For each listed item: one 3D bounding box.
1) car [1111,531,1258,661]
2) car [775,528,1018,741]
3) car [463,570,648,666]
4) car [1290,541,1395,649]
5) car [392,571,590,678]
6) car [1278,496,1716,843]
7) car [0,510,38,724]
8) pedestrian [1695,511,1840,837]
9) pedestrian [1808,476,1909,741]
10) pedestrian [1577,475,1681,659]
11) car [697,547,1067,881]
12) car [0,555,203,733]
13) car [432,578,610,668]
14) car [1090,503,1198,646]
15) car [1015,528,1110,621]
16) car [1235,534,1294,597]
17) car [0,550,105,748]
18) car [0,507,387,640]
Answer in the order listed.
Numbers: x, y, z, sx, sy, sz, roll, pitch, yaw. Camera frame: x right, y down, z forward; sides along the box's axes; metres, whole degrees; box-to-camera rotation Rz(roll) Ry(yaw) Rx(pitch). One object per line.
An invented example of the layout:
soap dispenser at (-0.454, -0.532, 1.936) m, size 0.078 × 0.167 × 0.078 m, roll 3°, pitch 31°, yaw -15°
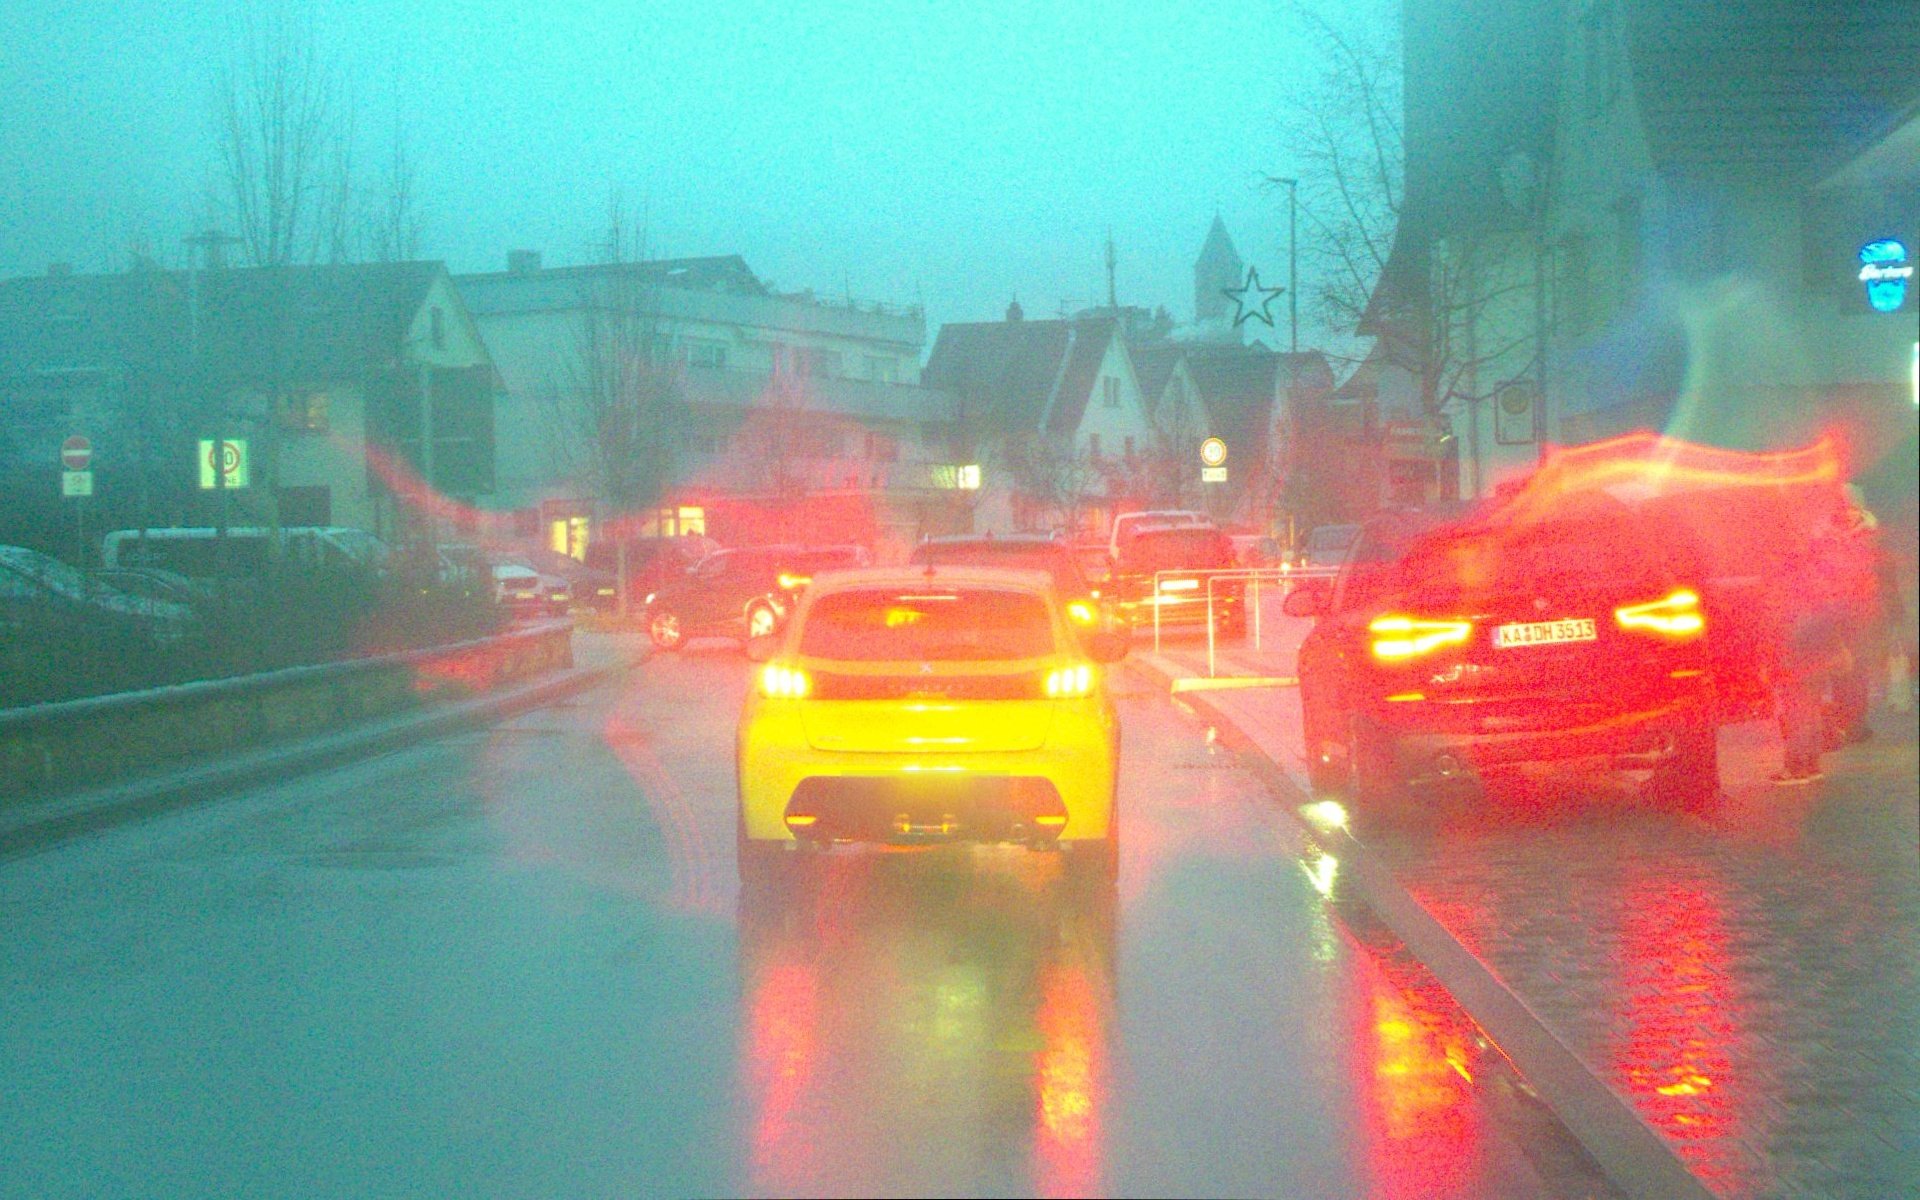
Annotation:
car at (3.294, -0.059, 51.062) m, size 1.997 × 1.858 × 4.083 m, roll 0°, pitch 0°, yaw 1°
car at (-0.463, 0.238, 28.388) m, size 1.766 × 1.623 × 3.585 m, roll 1°, pitch 1°, yaw 3°
car at (-9.523, 0.447, 80.800) m, size 4.383 × 2.159 × 1.995 m, roll -1°, pitch -2°, yaw 45°
car at (8.405, -0.090, 75.839) m, size 1.994 × 2.241 × 3.999 m, roll 1°, pitch -2°, yaw 2°
car at (-10.254, 0.545, 74.955) m, size 4.383 × 2.244 × 1.995 m, roll -1°, pitch -2°, yaw 45°
car at (2.849, 0.325, 19.139) m, size 1.735 × 1.686 × 4.386 m, roll -1°, pitch 0°, yaw 0°
car at (-9.801, 0.128, 26.946) m, size 4.625 × 1.662 × 2.000 m, roll 0°, pitch 0°, yaw -1°
pedestrian at (4.320, 0.387, 18.425) m, size 0.573 × 1.694 × 0.653 m, roll -2°, pitch 0°, yaw 2°
pedestrian at (5.907, 0.060, 22.622) m, size 0.618 × 1.721 × 0.501 m, roll 0°, pitch -2°, yaw 13°
pedestrian at (5.589, -0.288, 28.744) m, size 0.618 × 1.510 × 0.734 m, roll -1°, pitch 2°, yaw -12°
car at (-0.315, 0.470, 16.223) m, size 1.563 × 1.408 × 3.018 m, roll 1°, pitch 1°, yaw 1°
car at (-9.489, 0.403, 32.686) m, size 4.167 × 1.638 × 1.658 m, roll 0°, pitch 0°, yaw 5°
car at (-10.007, 0.534, 78.274) m, size 4.166 × 1.969 × 1.818 m, roll -1°, pitch -2°, yaw 45°
car at (3.360, -0.424, 63.468) m, size 1.870 × 2.461 × 4.443 m, roll 1°, pitch -2°, yaw 2°
car at (2.248, -0.548, 76.336) m, size 1.993 × 2.007 × 4.000 m, roll 0°, pitch 0°, yaw 0°
car at (8.436, -0.947, 95.434) m, size 1.458 × 1.616 × 3.293 m, roll 1°, pitch -2°, yaw 2°
car at (-9.728, 0.395, 29.748) m, size 4.198 × 1.647 × 1.679 m, roll 0°, pitch 0°, yaw 5°
car at (-11.383, -0.403, 51.110) m, size 5.400 × 1.811 × 1.711 m, roll 2°, pitch 0°, yaw 15°
